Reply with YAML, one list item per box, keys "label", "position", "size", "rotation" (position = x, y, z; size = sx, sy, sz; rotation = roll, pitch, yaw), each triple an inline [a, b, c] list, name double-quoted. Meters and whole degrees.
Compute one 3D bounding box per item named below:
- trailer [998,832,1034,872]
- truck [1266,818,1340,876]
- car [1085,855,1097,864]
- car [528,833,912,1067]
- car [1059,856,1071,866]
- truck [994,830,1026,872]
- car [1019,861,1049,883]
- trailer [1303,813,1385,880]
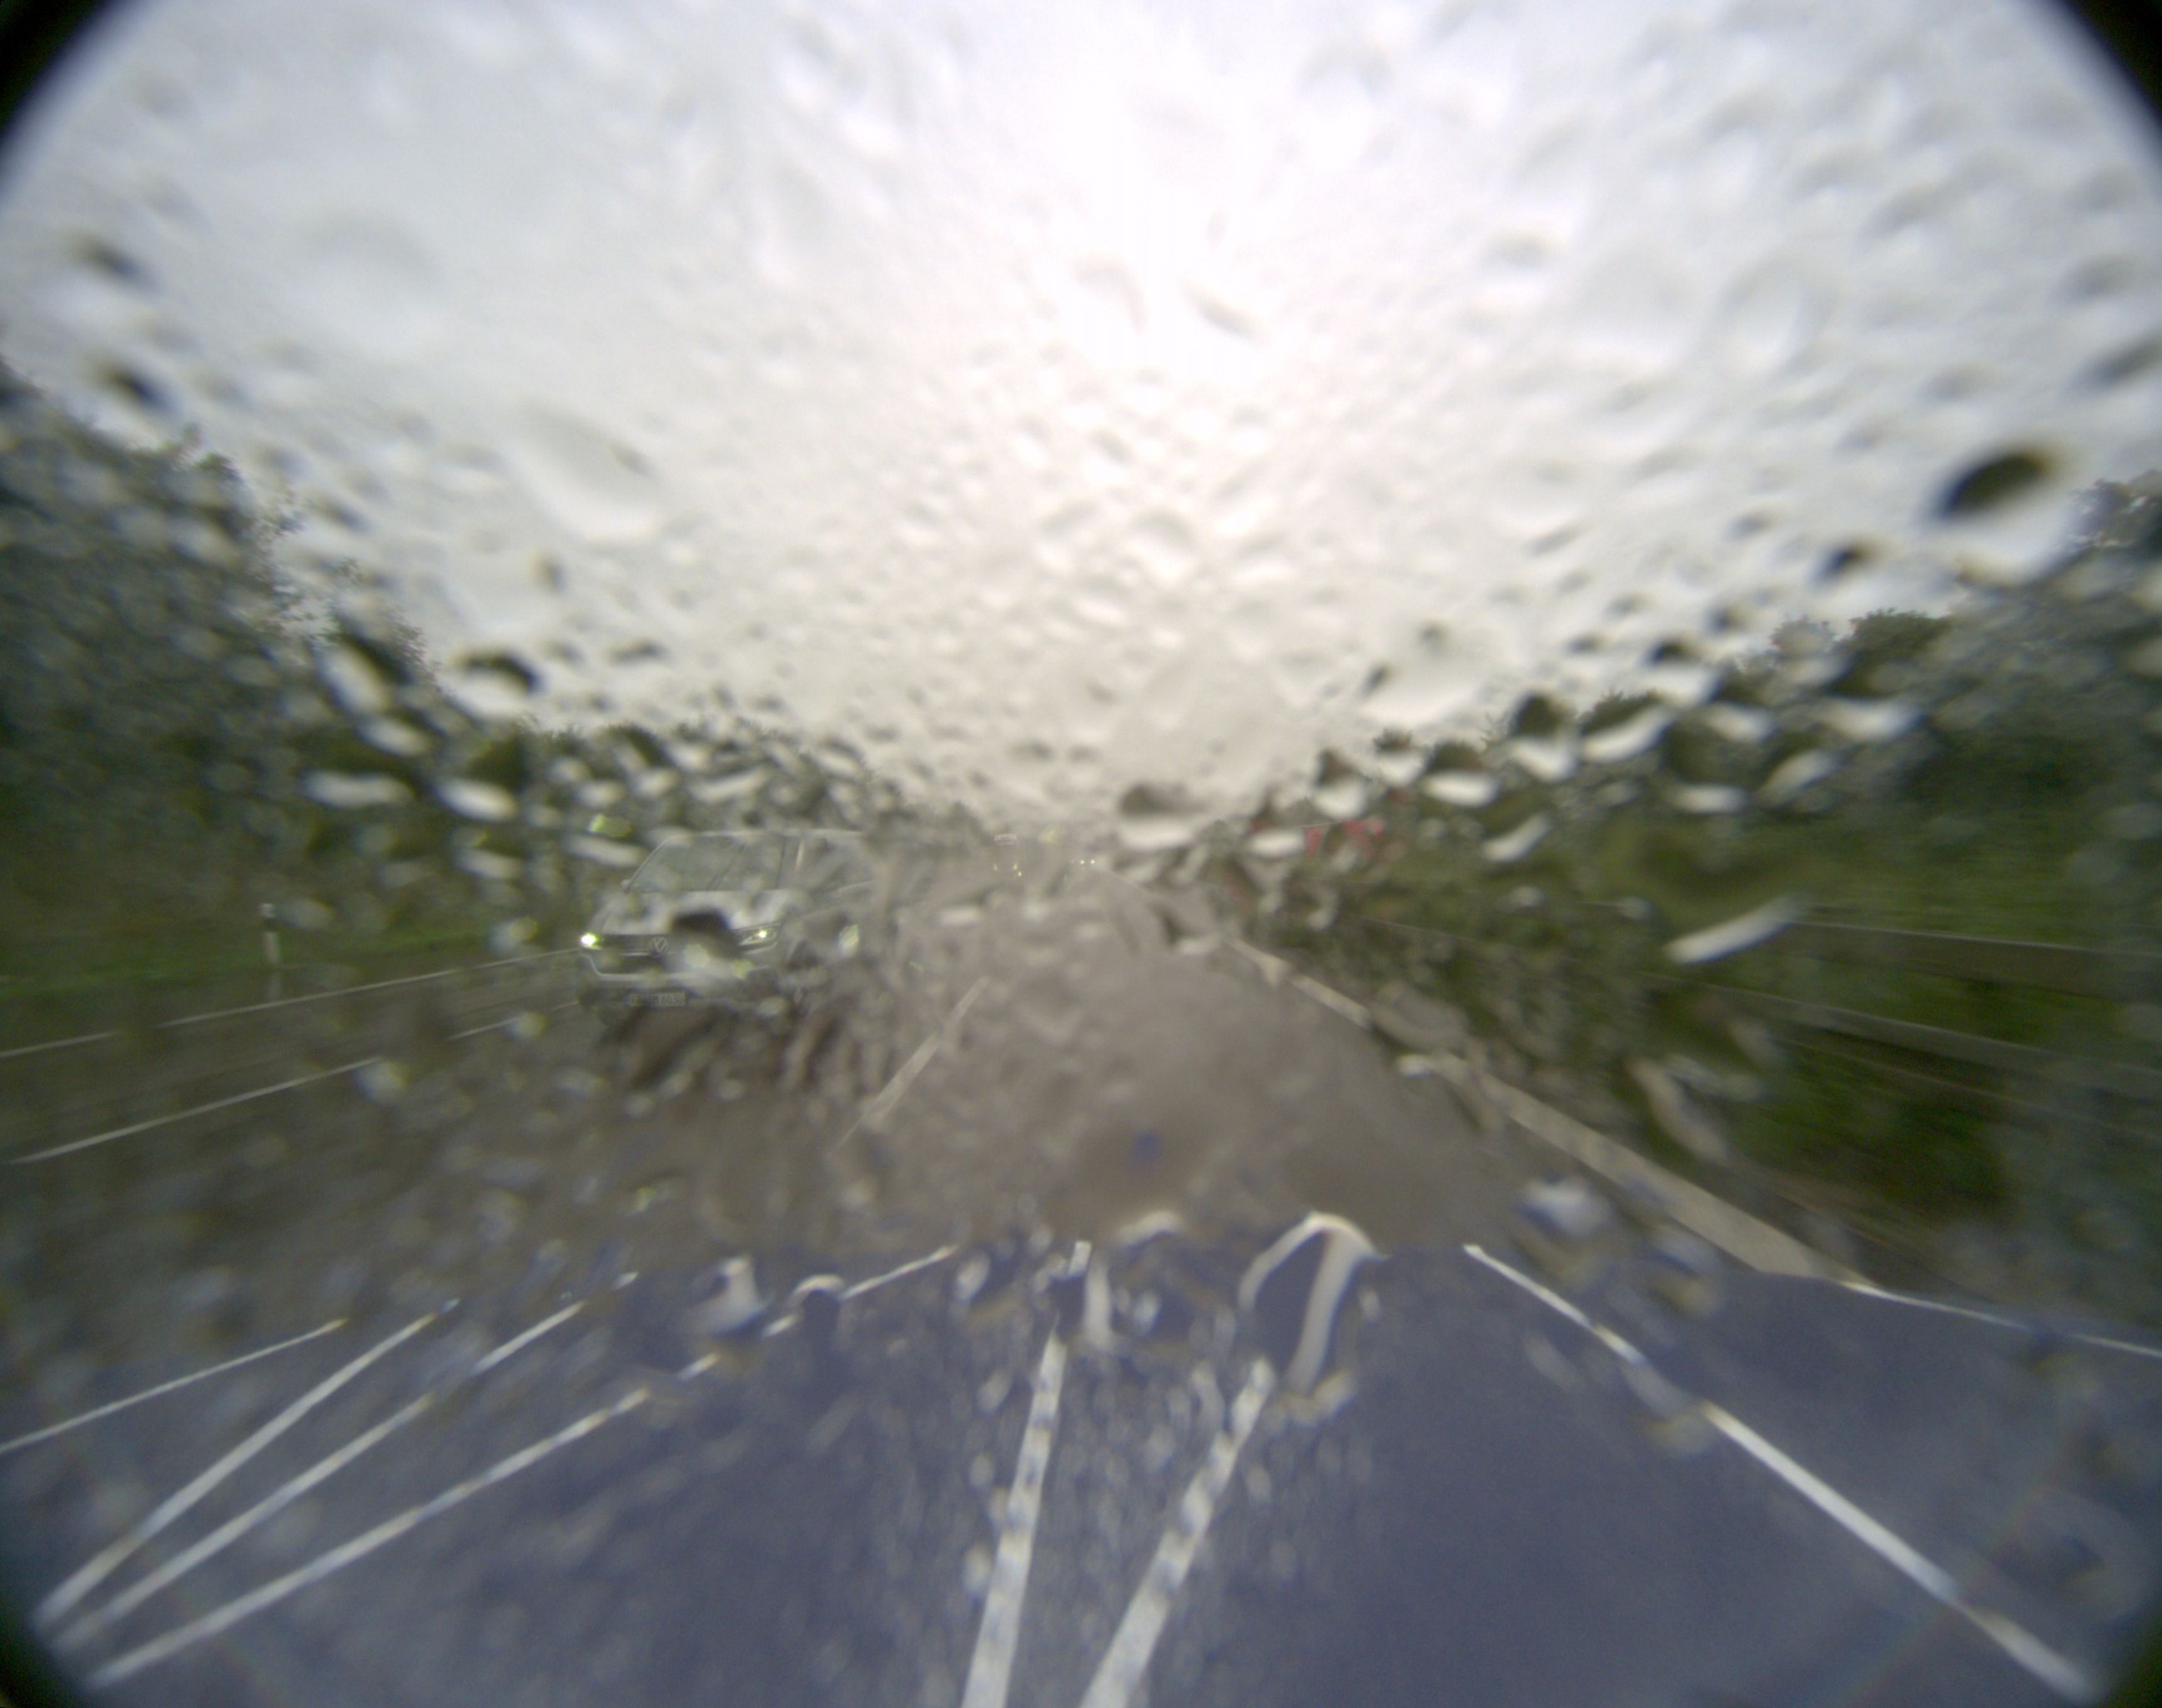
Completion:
- label: "trailer"
  position: [-7.051, -0.247, 84.433]
  size: [2.618, 4.064, 13.790]
  rotation: [-1, 0, 1]
- label: "truck"
  position: [18.032, -0.546, 62.677]
  size: [2.704, 4.206, 11.352]
  rotation: [-2, 0, 0]
- label: "car"
  position: [1.547, 0.862, 118.581]
  size: [1.769, 1.448, 3.959]
  rotation: [-1, 0, 1]
- label: "car"
  position: [-3.499, 0.781, 8.691]
  size: [1.892, 1.873, 5.009]
  rotation: [-1, 0, 1]
- label: "car"
  position: [-2.546, 1.052, 120.562]
  size: [1.769, 1.448, 3.959]
  rotation: [-1, 0, 1]
- label: "truck"
  position: [-7.139, -0.282, 77.212]
  size: [2.618, 4.064, 5.238]
  rotation: [-1, 0, 1]
- label: "car"
  position: [-3.305, 1.255, 53.907]
  size: [1.769, 1.448, 3.959]
  rotation: [-1, 0, 1]
- label: "trailer"
  position: [18.023, -0.491, 52.724]
  size: [2.704, 4.206, 8.488]
  rotation: [-2, 0, 0]
